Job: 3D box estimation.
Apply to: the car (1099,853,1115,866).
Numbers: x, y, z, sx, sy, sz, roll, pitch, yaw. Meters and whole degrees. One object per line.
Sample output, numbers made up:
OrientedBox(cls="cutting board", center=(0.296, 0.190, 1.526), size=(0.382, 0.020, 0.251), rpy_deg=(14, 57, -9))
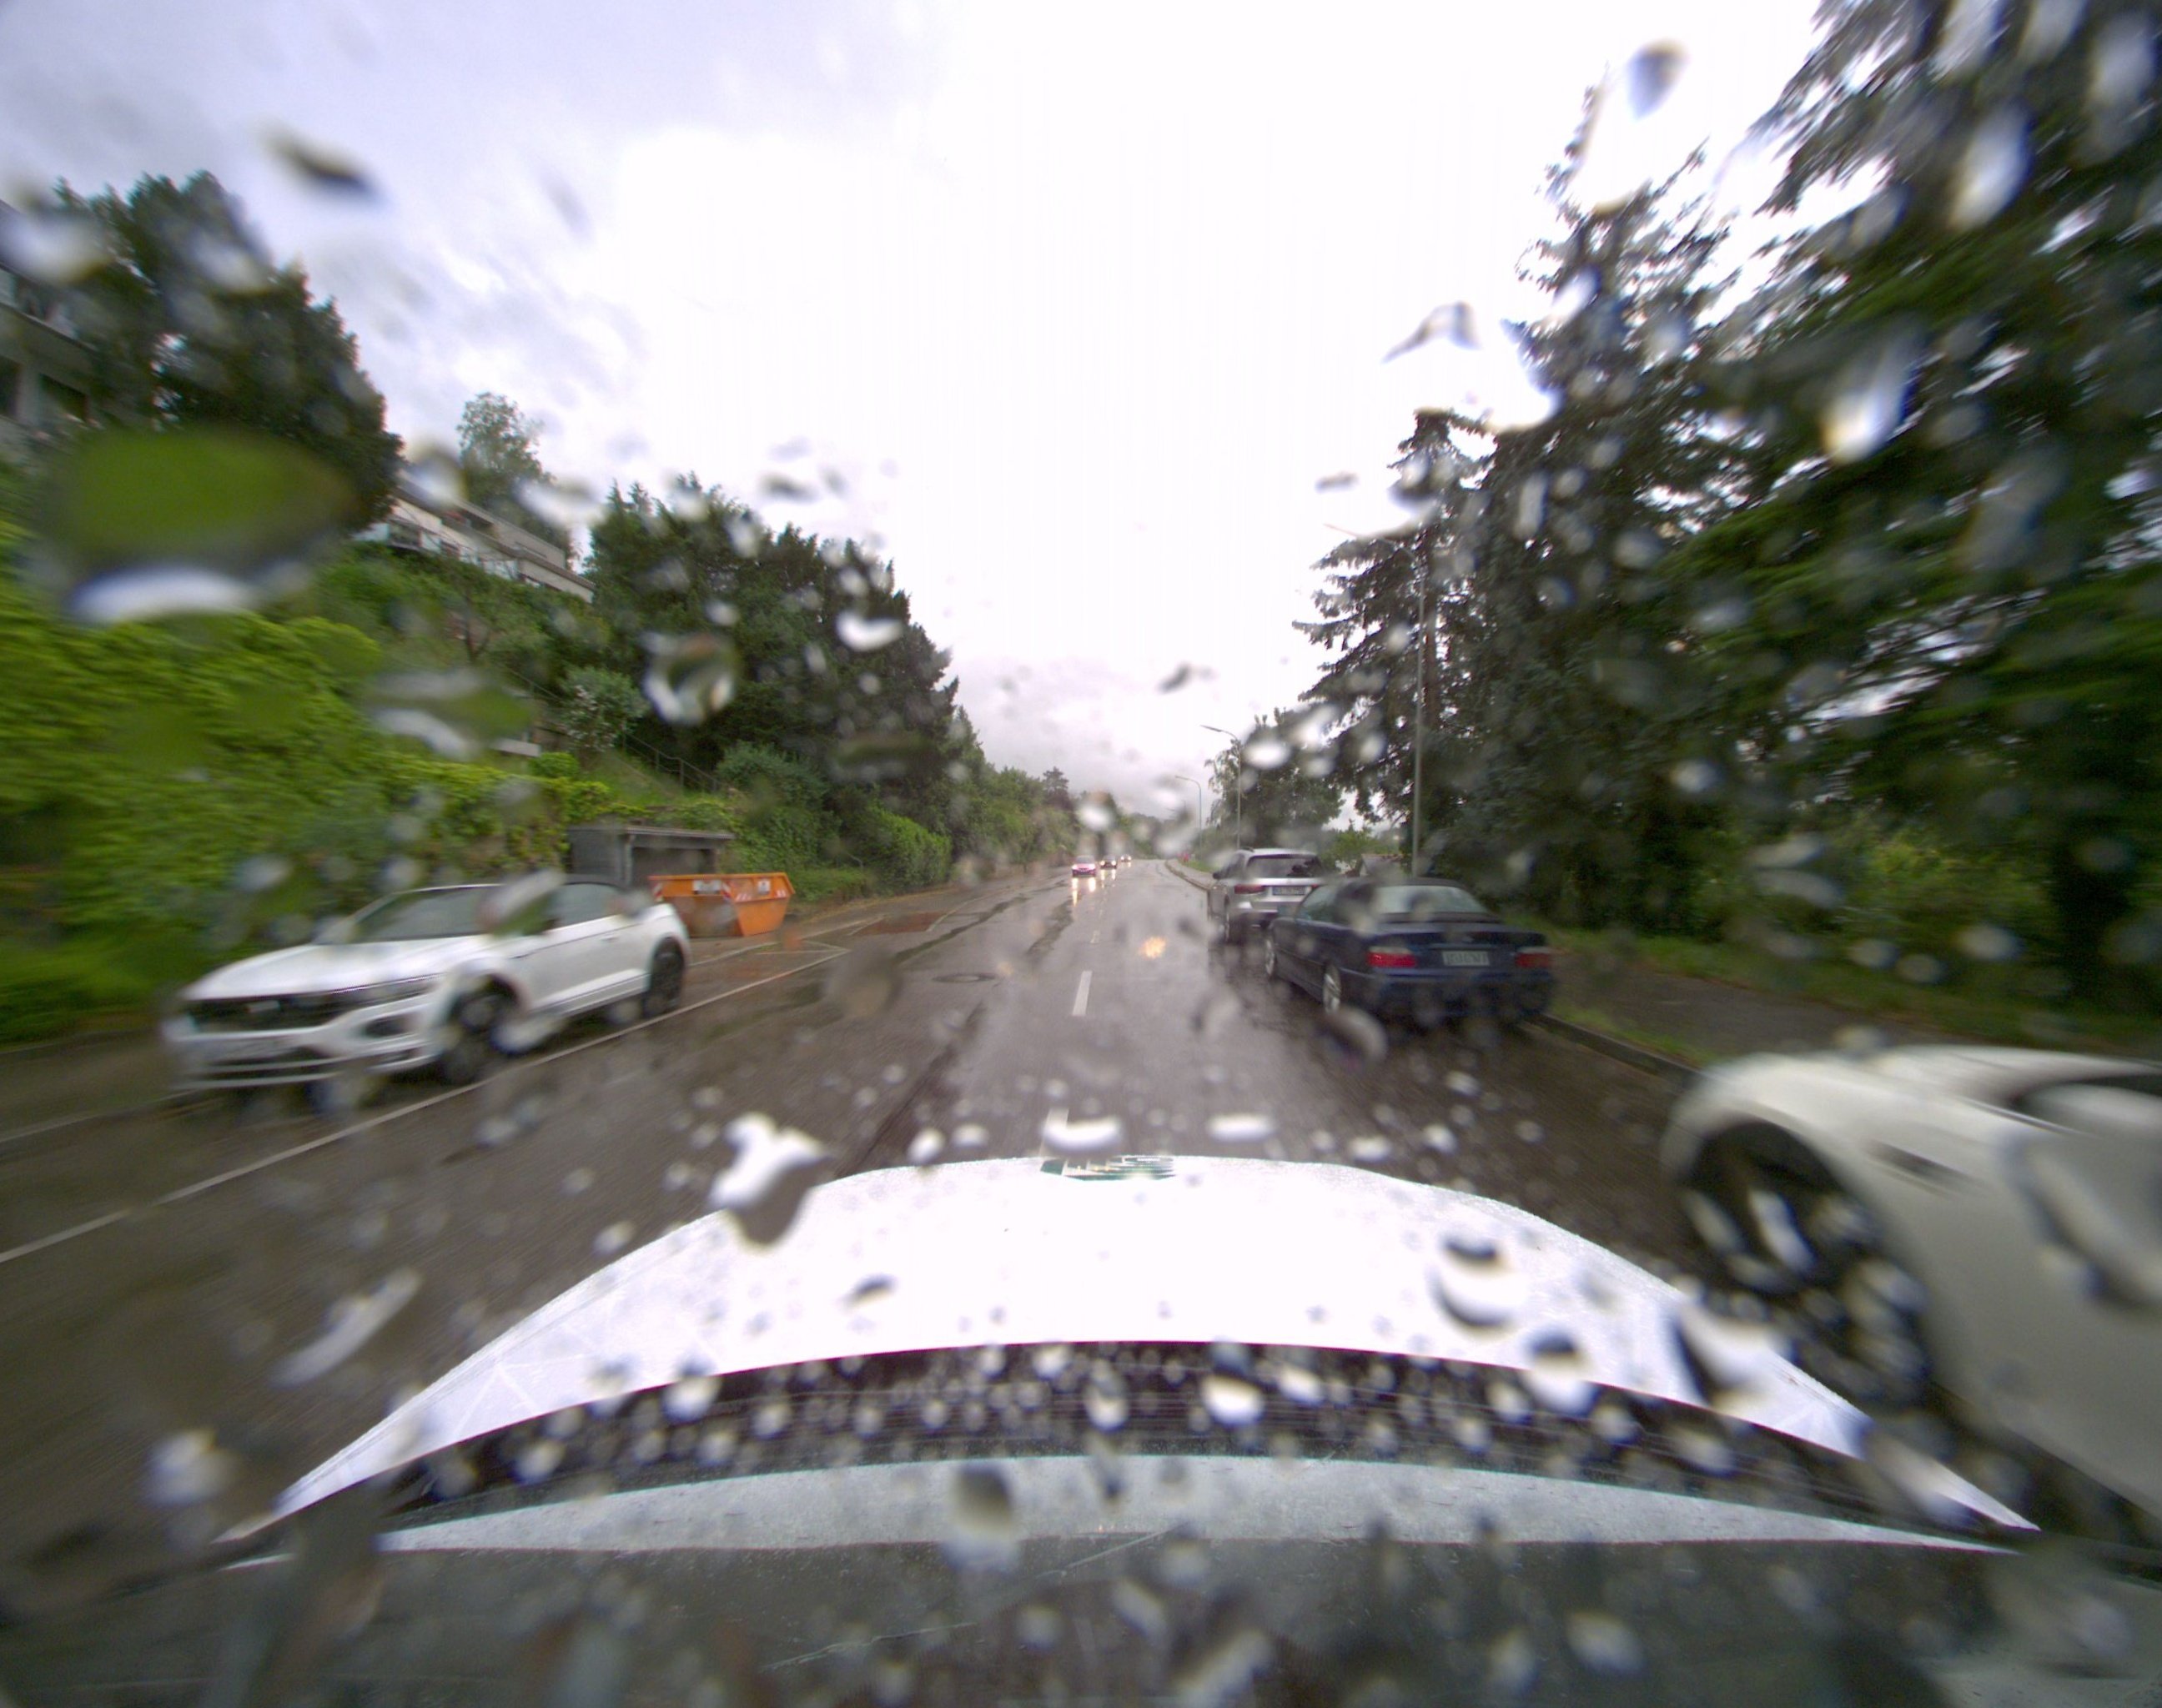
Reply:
OrientedBox(cls="car", center=(2.858, 0.574, 87.690), size=(1.648, 1.352, 3.989), rpy_deg=(-1, 0, 2))

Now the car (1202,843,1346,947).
OrientedBox(cls="car", center=(3.421, 0.669, 15.272), size=(1.808, 1.645, 4.397), rpy_deg=(-1, 0, 2))

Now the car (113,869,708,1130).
OrientedBox(cls="car", center=(-5.191, 0.952, 7.244), size=(1.750, 1.498, 4.219), rpy_deg=(-3, 0, 0))

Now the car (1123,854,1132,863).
OrientedBox(cls="car", center=(8.616, 0.804, 150.697), size=(1.752, 1.496, 4.130), rpy_deg=(-1, 0, 3))

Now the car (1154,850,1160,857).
OrientedBox(cls="car", center=(23.544, -0.165, 252.384), size=(1.984, 2.014, 4.005), rpy_deg=(-1, -1, 5))

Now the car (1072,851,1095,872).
OrientedBox(cls="car", center=(0.178, 0.526, 59.701), size=(1.656, 1.461, 3.661), rpy_deg=(-1, 0, 0))

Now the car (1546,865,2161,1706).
OrientedBox(cls="car", center=(2.699, 0.752, 1.231), size=(1.702, 1.403, 4.206), rpy_deg=(-1, 0, 2))

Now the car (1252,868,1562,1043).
OrientedBox(cls="car", center=(3.014, 0.836, 8.588), size=(1.624, 1.282, 4.450), rpy_deg=(-1, 0, 2))
